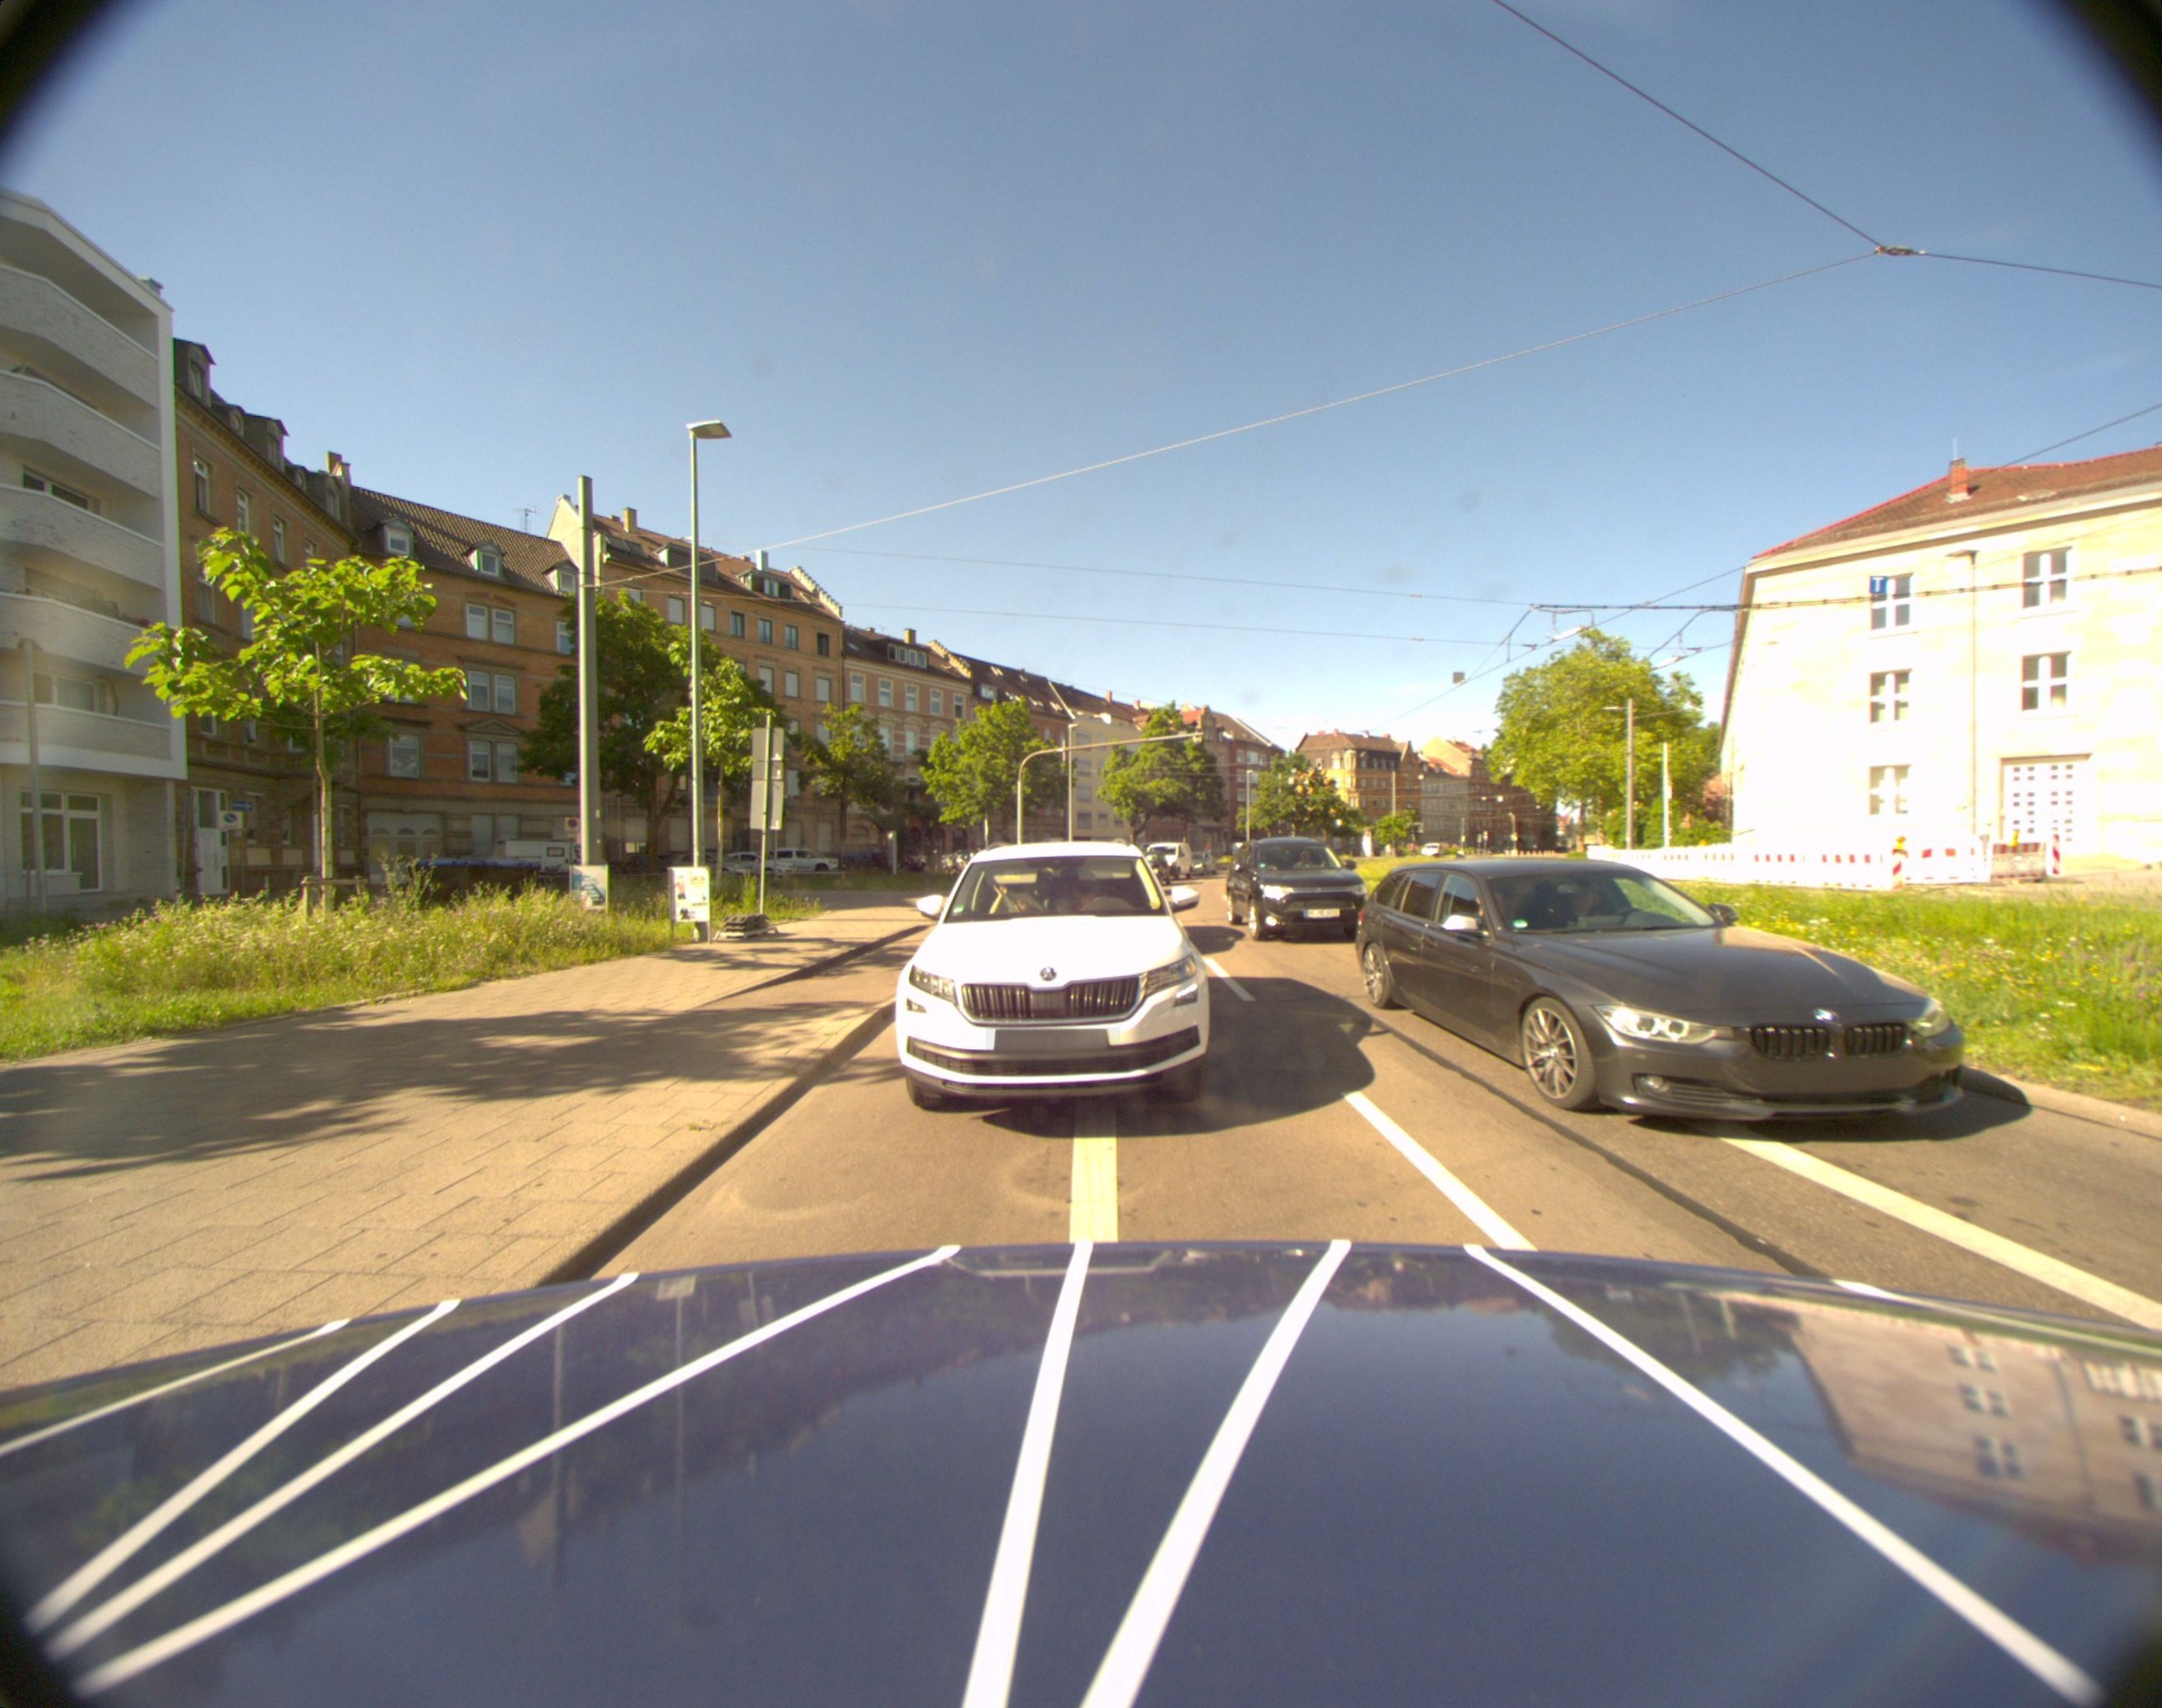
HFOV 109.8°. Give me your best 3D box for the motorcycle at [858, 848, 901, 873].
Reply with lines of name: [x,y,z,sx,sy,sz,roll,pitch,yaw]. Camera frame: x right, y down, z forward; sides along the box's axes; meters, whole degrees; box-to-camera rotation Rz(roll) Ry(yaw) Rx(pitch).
motorcycle: [-11.176,0.376,42.206,2.200,1.322,0.663,-2,1,13]

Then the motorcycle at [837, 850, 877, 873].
motorcycle: [-13.287,0.440,45.018,2.314,1.270,0.664,-2,1,24]

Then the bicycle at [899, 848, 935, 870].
bicycle: [-9.740,0.308,45.069,2.198,1.260,0.664,-2,1,30]

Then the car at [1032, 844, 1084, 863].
car: [-1.773,-0.052,58.711,3.823,1.398,1.600,0,1,6]

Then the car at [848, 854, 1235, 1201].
car: [-0.228,0.853,5.948,1.842,1.636,4.397,-2,0,-1]

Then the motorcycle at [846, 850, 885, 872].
motorcycle: [-12.938,0.416,45.623,2.314,1.276,0.664,-2,1,24]

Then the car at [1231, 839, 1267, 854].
car: [18.699,-0.818,84.656,3.823,1.581,1.600,0,1,6]

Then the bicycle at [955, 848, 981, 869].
bicycle: [-7.120,0.309,47.752,0.664,1.260,2.199,-3,1,-36]

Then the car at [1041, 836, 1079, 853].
car: [-1.936,-0.940,71.664,1.547,1.578,3.607,1,2,41]

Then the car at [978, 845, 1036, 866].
car: [-5.224,0.089,53.963,3.822,1.398,1.683,0,1,9]

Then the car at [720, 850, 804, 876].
car: [-16.405,0.441,39.105,3.696,1.244,1.683,0,1,13]

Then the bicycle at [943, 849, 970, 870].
bicycle: [-7.683,0.342,46.758,0.664,1.260,2.199,-3,1,-36]

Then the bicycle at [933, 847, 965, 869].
bicycle: [-7.727,0.241,44.516,0.664,1.260,2.198,-3,1,-45]

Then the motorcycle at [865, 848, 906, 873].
motorcycle: [-11.146,0.359,43.292,2.200,1.315,0.664,-2,1,18]

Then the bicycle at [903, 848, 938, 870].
bicycle: [-9.704,0.296,46.007,2.198,1.260,0.664,-2,1,32]

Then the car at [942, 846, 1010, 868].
car: [-7.040,0.177,51.294,4.322,1.398,1.682,0,1,3]

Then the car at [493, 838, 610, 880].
car: [-27.116,0.218,39.009,2.047,2.026,4.510,1,2,41]

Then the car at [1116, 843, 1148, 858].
car: [5.473,-0.419,80.726,1.547,1.578,3.607,1,2,41]

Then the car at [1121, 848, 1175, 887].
car: [3.125,0.557,34.864,1.837,1.637,4.152,0,1,14]

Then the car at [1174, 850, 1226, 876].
car: [7.425,0.495,47.095,1.836,1.464,4.721,0,1,26]

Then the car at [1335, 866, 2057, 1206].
car: [3.478,0.848,5.592,1.741,1.359,4.426,-2,0,1]

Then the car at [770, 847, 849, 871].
car: [-14.679,0.257,41.193,3.700,1.244,1.540,0,1,2]

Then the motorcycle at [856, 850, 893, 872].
motorcycle: [-12.600,0.403,46.403,2.199,1.260,0.664,-2,1,24]

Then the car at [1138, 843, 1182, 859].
car: [7.129,-0.247,68.177,3.823,1.372,1.600,0,1,9]

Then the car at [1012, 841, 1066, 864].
car: [-3.105,-0.135,56.102,3.825,1.698,1.682,0,1,3]

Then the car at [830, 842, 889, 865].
car: [-15.608,-0.054,53.670,1.547,1.578,3.709,1,2,41]

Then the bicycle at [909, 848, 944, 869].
bicycle: [-9.508,0.281,46.710,2.198,1.260,0.664,-2,1,32]

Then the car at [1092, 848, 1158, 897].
car: [1.644,0.598,26.955,1.838,1.543,4.151,0,1,10]

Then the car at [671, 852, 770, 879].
car: [-17.498,0.535,36.905,4.156,1.244,1.683,0,1,13]

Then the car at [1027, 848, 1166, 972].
car: [0.235,0.761,12.606,1.842,1.636,4.397,-2,0,1]

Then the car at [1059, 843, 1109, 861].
car: [0.263,-0.158,61.163,3.823,1.398,1.600,0,1,6]

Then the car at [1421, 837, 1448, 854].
car: [42.316,-1.005,90.934,1.994,1.864,4.599,-1,1,37]

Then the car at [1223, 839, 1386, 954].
car: [3.698,0.625,13.396,1.841,1.636,4.399,-2,0,5]

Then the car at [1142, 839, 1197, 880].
car: [4.848,0.237,40.924,1.979,2.074,4.719,0,1,19]

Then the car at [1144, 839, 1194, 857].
car: [8.201,-0.586,70.607,4.578,1.658,1.600,0,1,7]

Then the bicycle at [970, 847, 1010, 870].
bicycle: [-5.473,0.269,45.738,2.207,1.260,0.662,-3,1,-25]

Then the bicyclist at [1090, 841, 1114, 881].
bicyclist: [1.062,0.332,38.280,0.847,2.002,1.198,-1,1,19]
